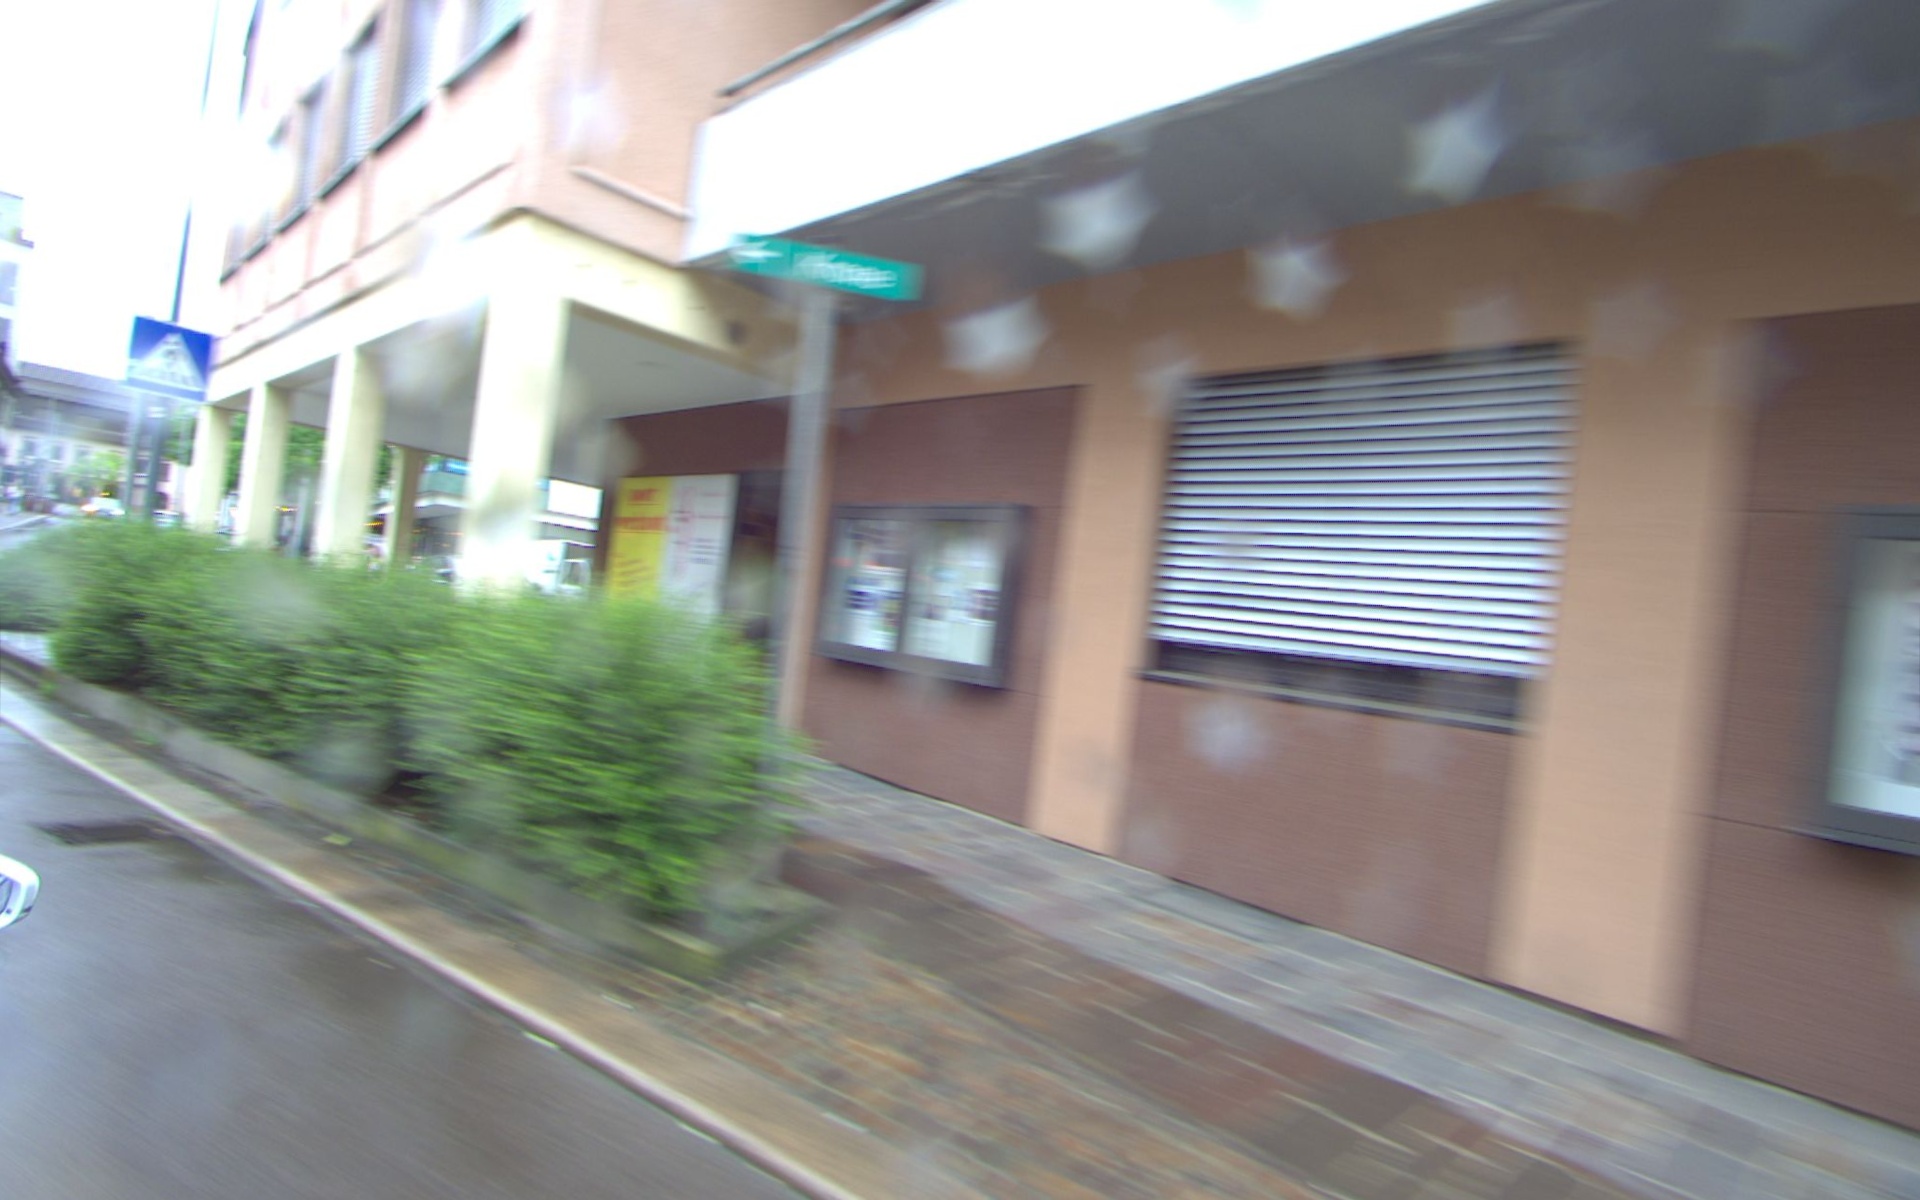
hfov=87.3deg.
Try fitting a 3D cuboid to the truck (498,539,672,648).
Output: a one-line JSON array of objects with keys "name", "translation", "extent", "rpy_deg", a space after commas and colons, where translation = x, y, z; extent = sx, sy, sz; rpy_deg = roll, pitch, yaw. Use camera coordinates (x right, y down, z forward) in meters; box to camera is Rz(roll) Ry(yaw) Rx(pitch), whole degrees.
[{"name": "truck", "translation": [-7.817, -0.173, 20.793], "extent": [1.758, 1.829, 3.950], "rpy_deg": [8, -2, -45]}]

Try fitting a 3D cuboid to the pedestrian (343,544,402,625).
[{"name": "pedestrian", "translation": [-13.073, -0.328, 22.414], "extent": [0.712, 1.709, 0.733], "rpy_deg": [7, -1, -5]}]

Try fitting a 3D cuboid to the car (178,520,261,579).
[{"name": "car", "translation": [-20.949, -1.420, 28.568], "extent": [1.527, 1.378, 3.345], "rpy_deg": [8, -2, -32]}]

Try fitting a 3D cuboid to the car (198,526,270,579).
[{"name": "car", "translation": [-24.023, -1.596, 33.233], "extent": [1.616, 1.520, 3.956], "rpy_deg": [5, 1, -39]}]

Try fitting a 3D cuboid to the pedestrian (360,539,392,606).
[{"name": "pedestrian", "translation": [-15.349, -0.730, 26.431], "extent": [0.537, 1.683, 0.516], "rpy_deg": [7, -1, -34]}]

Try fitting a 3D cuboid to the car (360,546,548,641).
[{"name": "car", "translation": [-9.378, -0.160, 18.460], "extent": [1.758, 1.291, 4.416], "rpy_deg": [8, -2, -44]}]

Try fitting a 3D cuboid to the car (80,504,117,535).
[{"name": "car", "translation": [-56.779, -5.296, 66.329], "extent": [1.580, 1.733, 3.285], "rpy_deg": [8, -2, -39]}]

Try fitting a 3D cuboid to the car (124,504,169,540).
[{"name": "car", "translation": [-45.684, -4.343, 56.529], "extent": [1.666, 1.733, 3.288], "rpy_deg": [8, -2, -37]}]

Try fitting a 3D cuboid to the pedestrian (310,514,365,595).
[{"name": "pedestrian", "translation": [-13.772, -0.993, 22.278], "extent": [0.688, 1.681, 0.818], "rpy_deg": [7, -1, -16]}]

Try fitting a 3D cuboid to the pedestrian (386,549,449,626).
[{"name": "pedestrian", "translation": [-12.553, -0.280, 23.321], "extent": [0.952, 1.658, 0.732], "rpy_deg": [7, -1, -14]}]

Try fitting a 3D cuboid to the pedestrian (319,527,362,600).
[{"name": "pedestrian", "translation": [-16.066, -0.951, 26.086], "extent": [0.729, 1.769, 0.884], "rpy_deg": [7, -1, -34]}]
